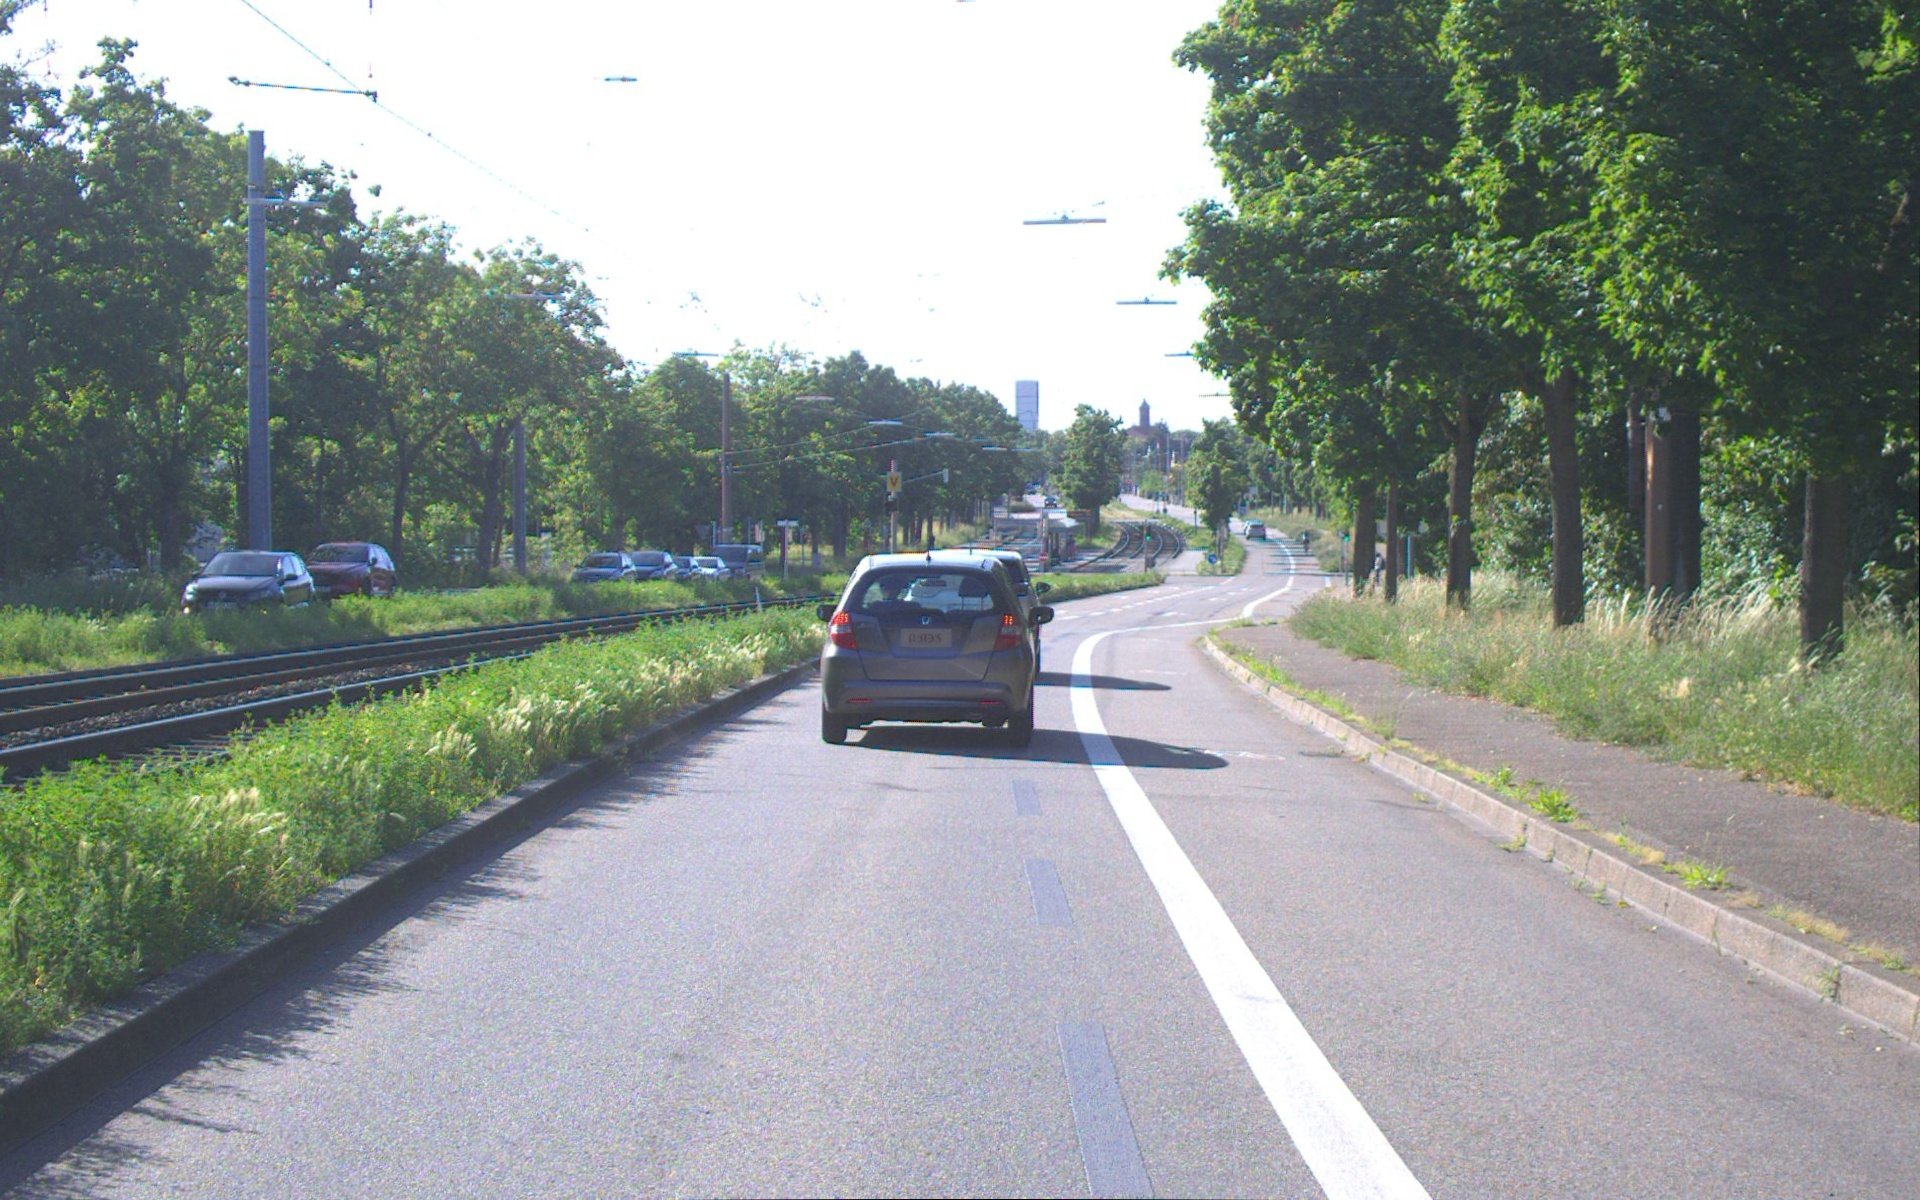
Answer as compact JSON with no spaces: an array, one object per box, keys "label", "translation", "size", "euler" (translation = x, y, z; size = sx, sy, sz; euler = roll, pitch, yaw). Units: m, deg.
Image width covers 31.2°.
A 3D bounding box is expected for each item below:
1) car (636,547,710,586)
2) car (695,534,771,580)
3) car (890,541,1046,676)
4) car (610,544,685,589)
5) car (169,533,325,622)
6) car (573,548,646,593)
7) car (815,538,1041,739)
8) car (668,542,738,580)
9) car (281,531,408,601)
[{"label":"car","translation":[-11.118,-1.299,133.272],"size":[1.994,1.432,4.413],"euler":[1,1,7]},{"label":"car","translation":[-9.590,-1.830,145.586],"size":[2.198,1.885,4.789],"euler":[1,1,9]},{"label":"car","translation":[0.148,0.067,43.831],"size":[1.851,1.601,4.255],"euler":[1,1,2]},{"label":"car","translation":[-11.562,-1.258,127.379],"size":[1.994,1.569,4.434],"euler":[1,1,5]},{"label":"car","translation":[-12.451,-0.414,60.218],"size":[1.710,1.474,4.000],"euler":[1,1,3]},{"label":"car","translation":[-12.296,-1.051,120.763],"size":[1.735,1.489,4.327],"euler":[2,1,5]},{"label":"car","translation":[-0.280,0.262,28.588],"size":[1.707,1.503,4.000],"euler":[2,1,-1]},{"label":"car","translation":[-10.404,-1.593,139.271],"size":[1.929,1.432,4.693],"euler":[1,1,7]},{"label":"car","translation":[-15.514,-0.867,86.880],"size":[2.004,1.696,4.466],"euler":[1,1,5]}]
